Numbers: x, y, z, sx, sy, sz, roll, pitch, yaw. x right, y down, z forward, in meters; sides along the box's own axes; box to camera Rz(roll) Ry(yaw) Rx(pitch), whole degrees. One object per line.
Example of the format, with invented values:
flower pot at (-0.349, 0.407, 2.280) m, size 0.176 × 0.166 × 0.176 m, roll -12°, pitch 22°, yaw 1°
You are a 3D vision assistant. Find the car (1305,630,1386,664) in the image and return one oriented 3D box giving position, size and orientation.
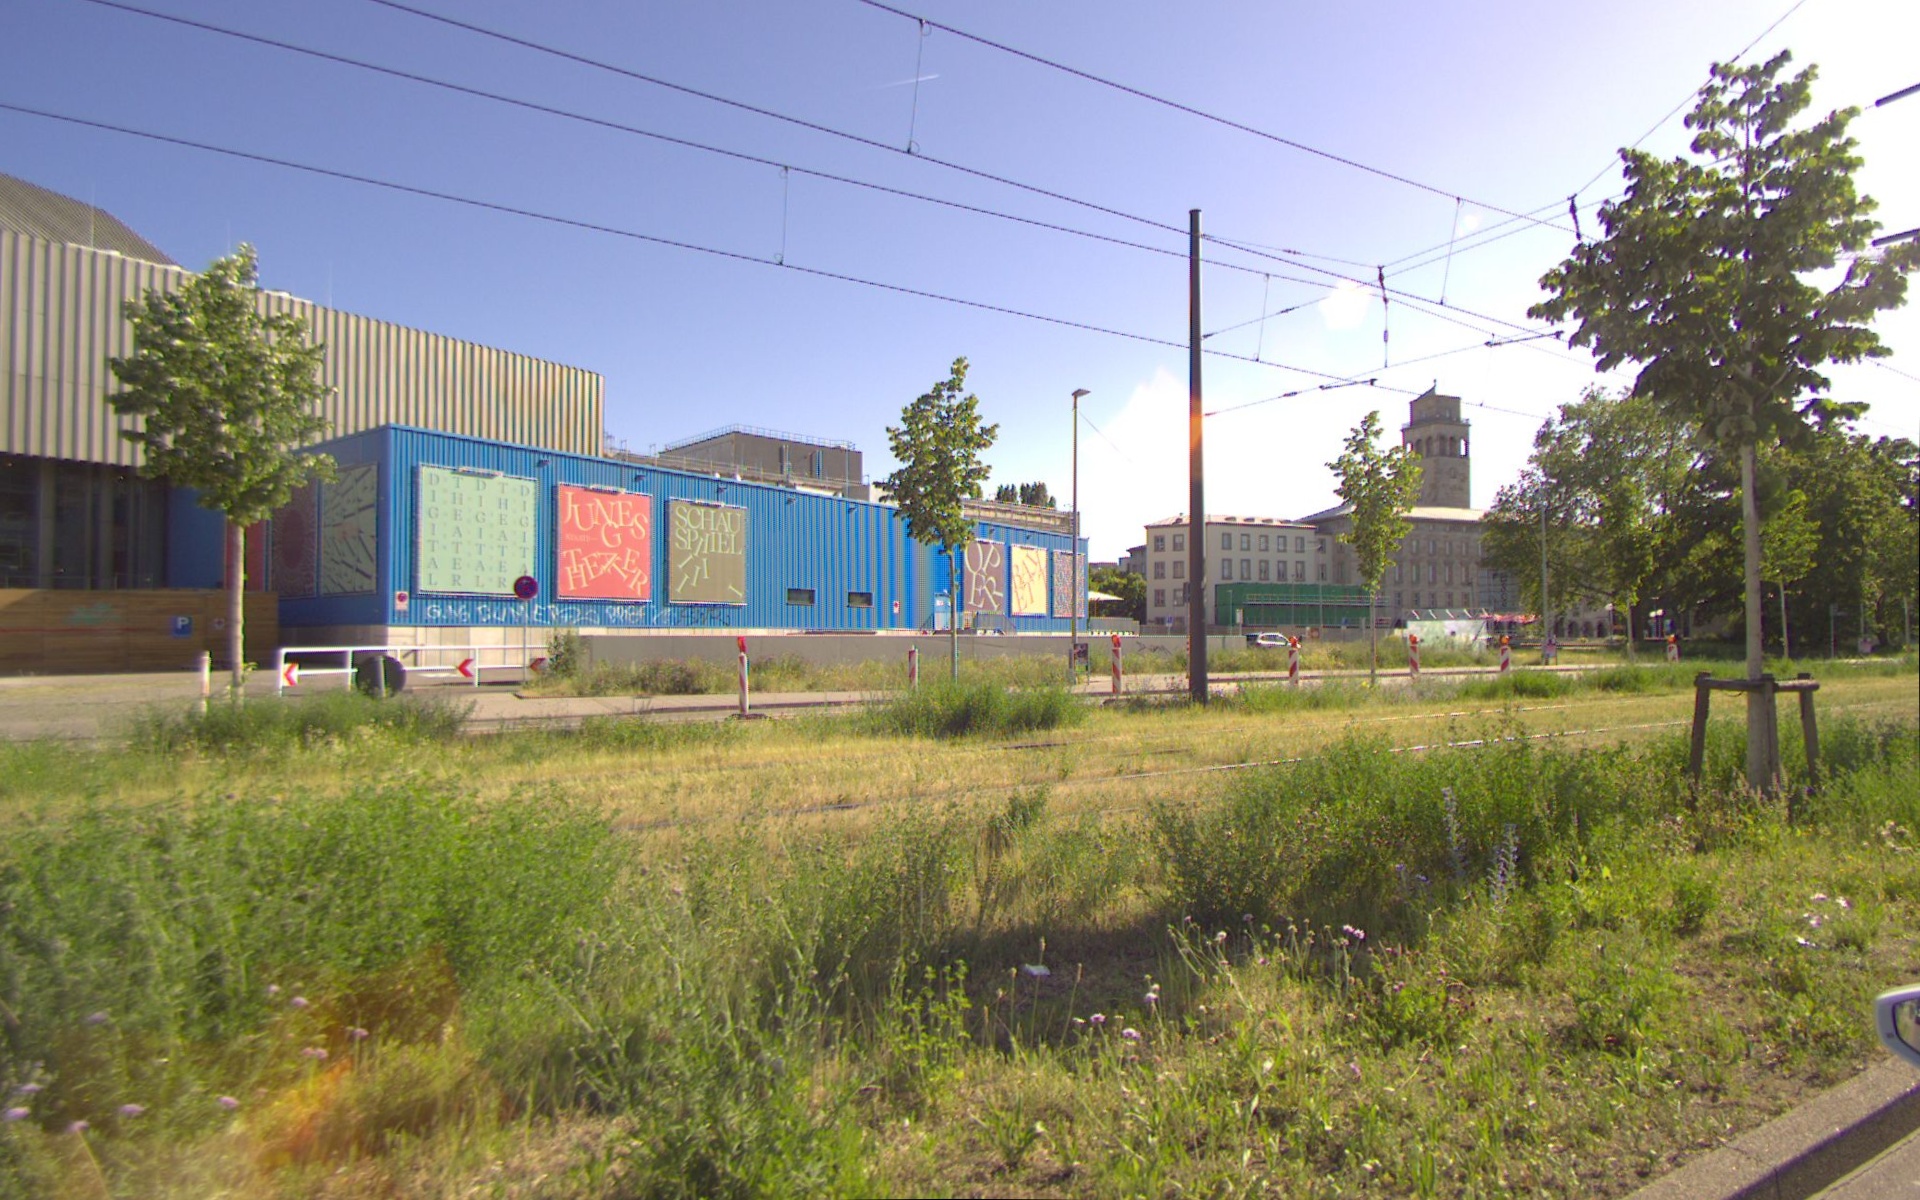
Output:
car at (18.536, 2.257, 48.243) m, size 3.811 × 1.556 × 1.551 m, roll 2°, pitch 0°, yaw -29°
